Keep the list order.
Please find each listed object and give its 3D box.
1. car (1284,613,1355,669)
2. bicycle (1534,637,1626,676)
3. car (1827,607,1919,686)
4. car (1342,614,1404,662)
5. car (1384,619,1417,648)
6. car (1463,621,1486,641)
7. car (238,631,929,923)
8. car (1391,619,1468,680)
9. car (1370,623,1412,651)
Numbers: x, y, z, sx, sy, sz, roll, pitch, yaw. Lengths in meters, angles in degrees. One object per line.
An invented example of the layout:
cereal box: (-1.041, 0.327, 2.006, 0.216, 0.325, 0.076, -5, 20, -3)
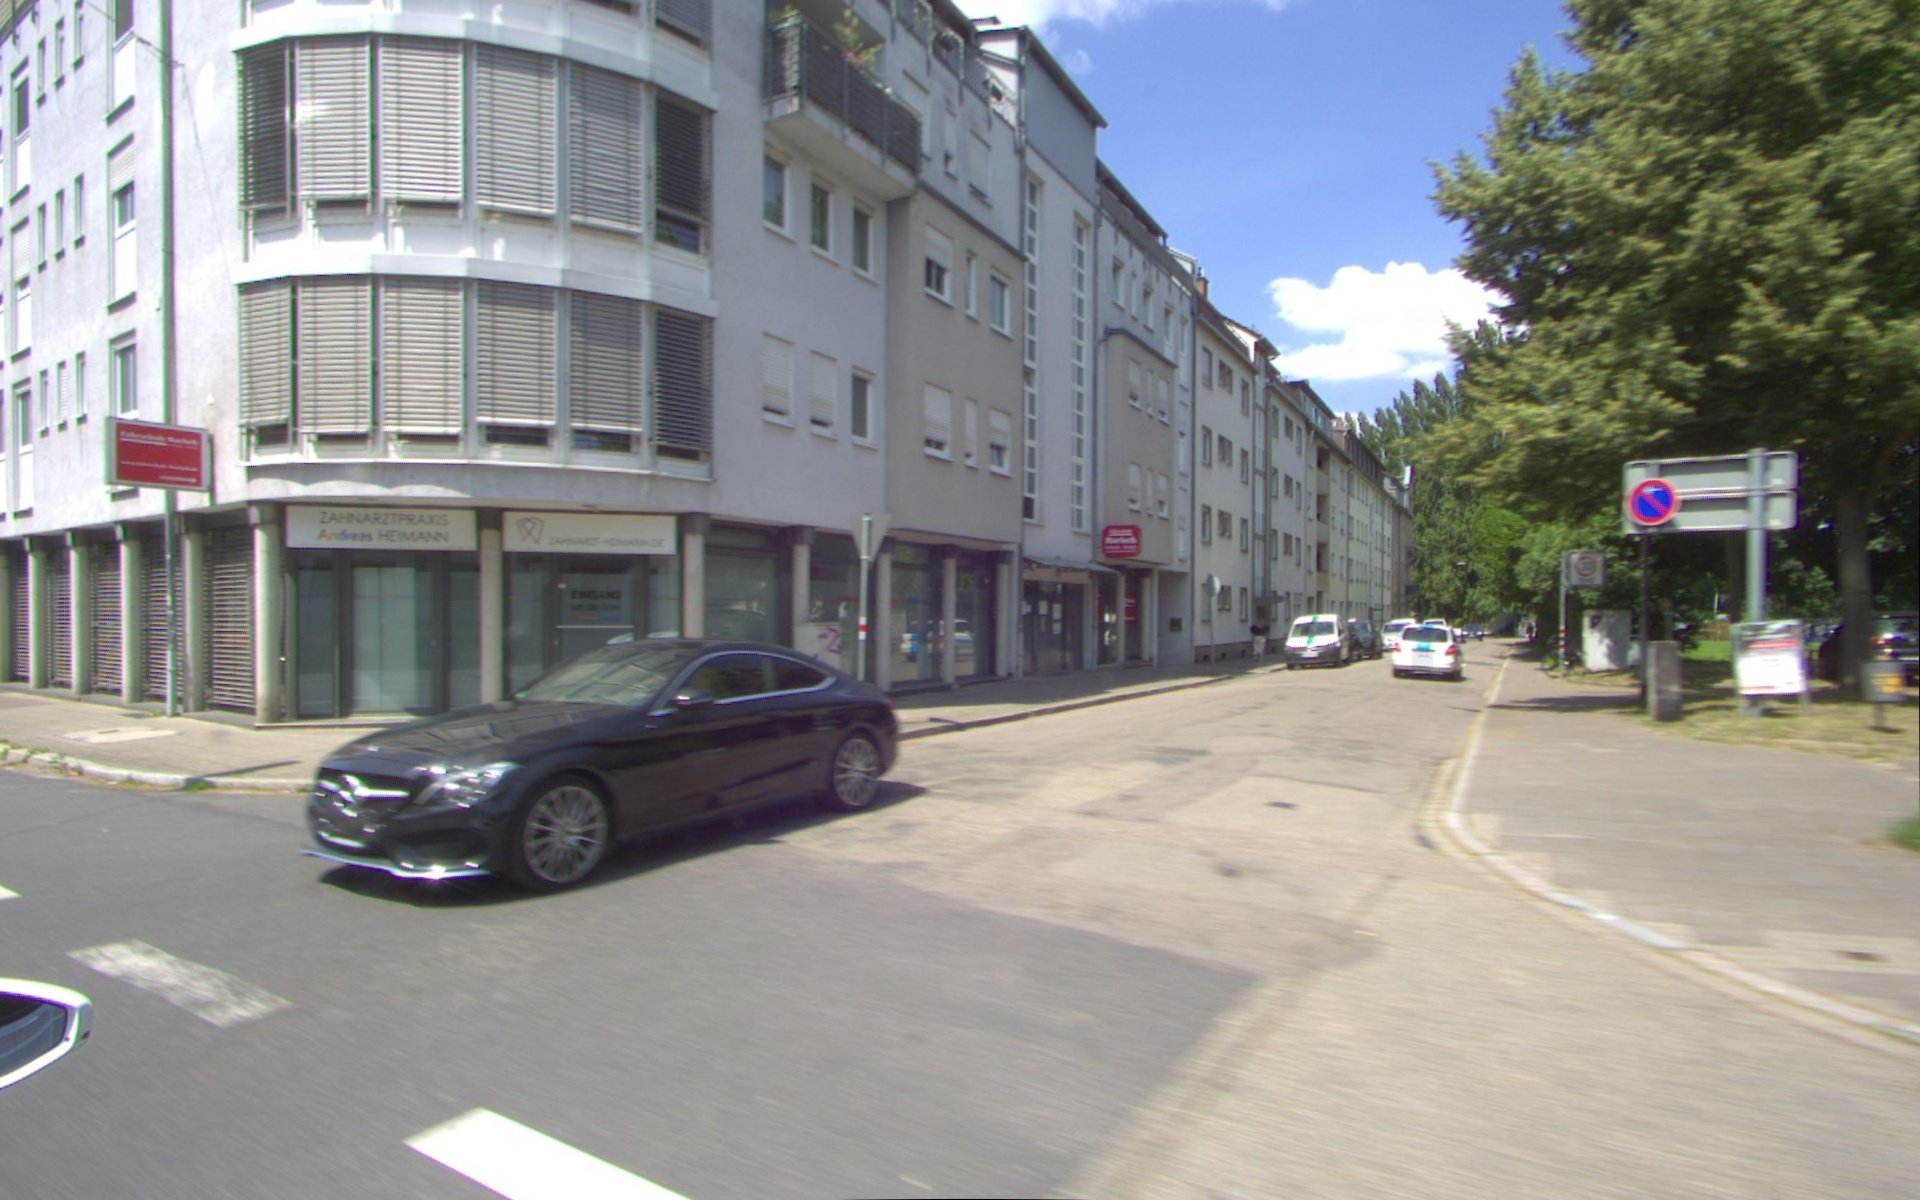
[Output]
car: (12.383, 1.402, 34.353, 1.603, 1.756, 4.368, -3, -3, 28)
bicycle: (16.753, 1.538, 27.094, 0.697, 0.812, 1.910, 0, -9, -37)
car: (21.879, 1.039, 23.293, 1.843, 1.715, 3.982, 0, -1, 30)
car: (16.310, 1.466, 39.410, 1.604, 1.757, 4.776, -1, -2, 30)
car: (27.128, 2.046, 61.588, 1.559, 1.683, 3.713, 0, -1, 29)
car: (46.773, 2.823, 90.936, 1.581, 1.717, 3.981, 0, -1, 32)
car: (-2.279, 0.949, 7.404, 1.970, 1.383, 4.575, 0, -1, 31)
car: (13.258, 1.345, 28.166, 1.547, 1.575, 3.981, 0, -1, 31)
car: (23.819, 2.026, 55.286, 1.604, 1.454, 3.988, -1, -2, 31)
